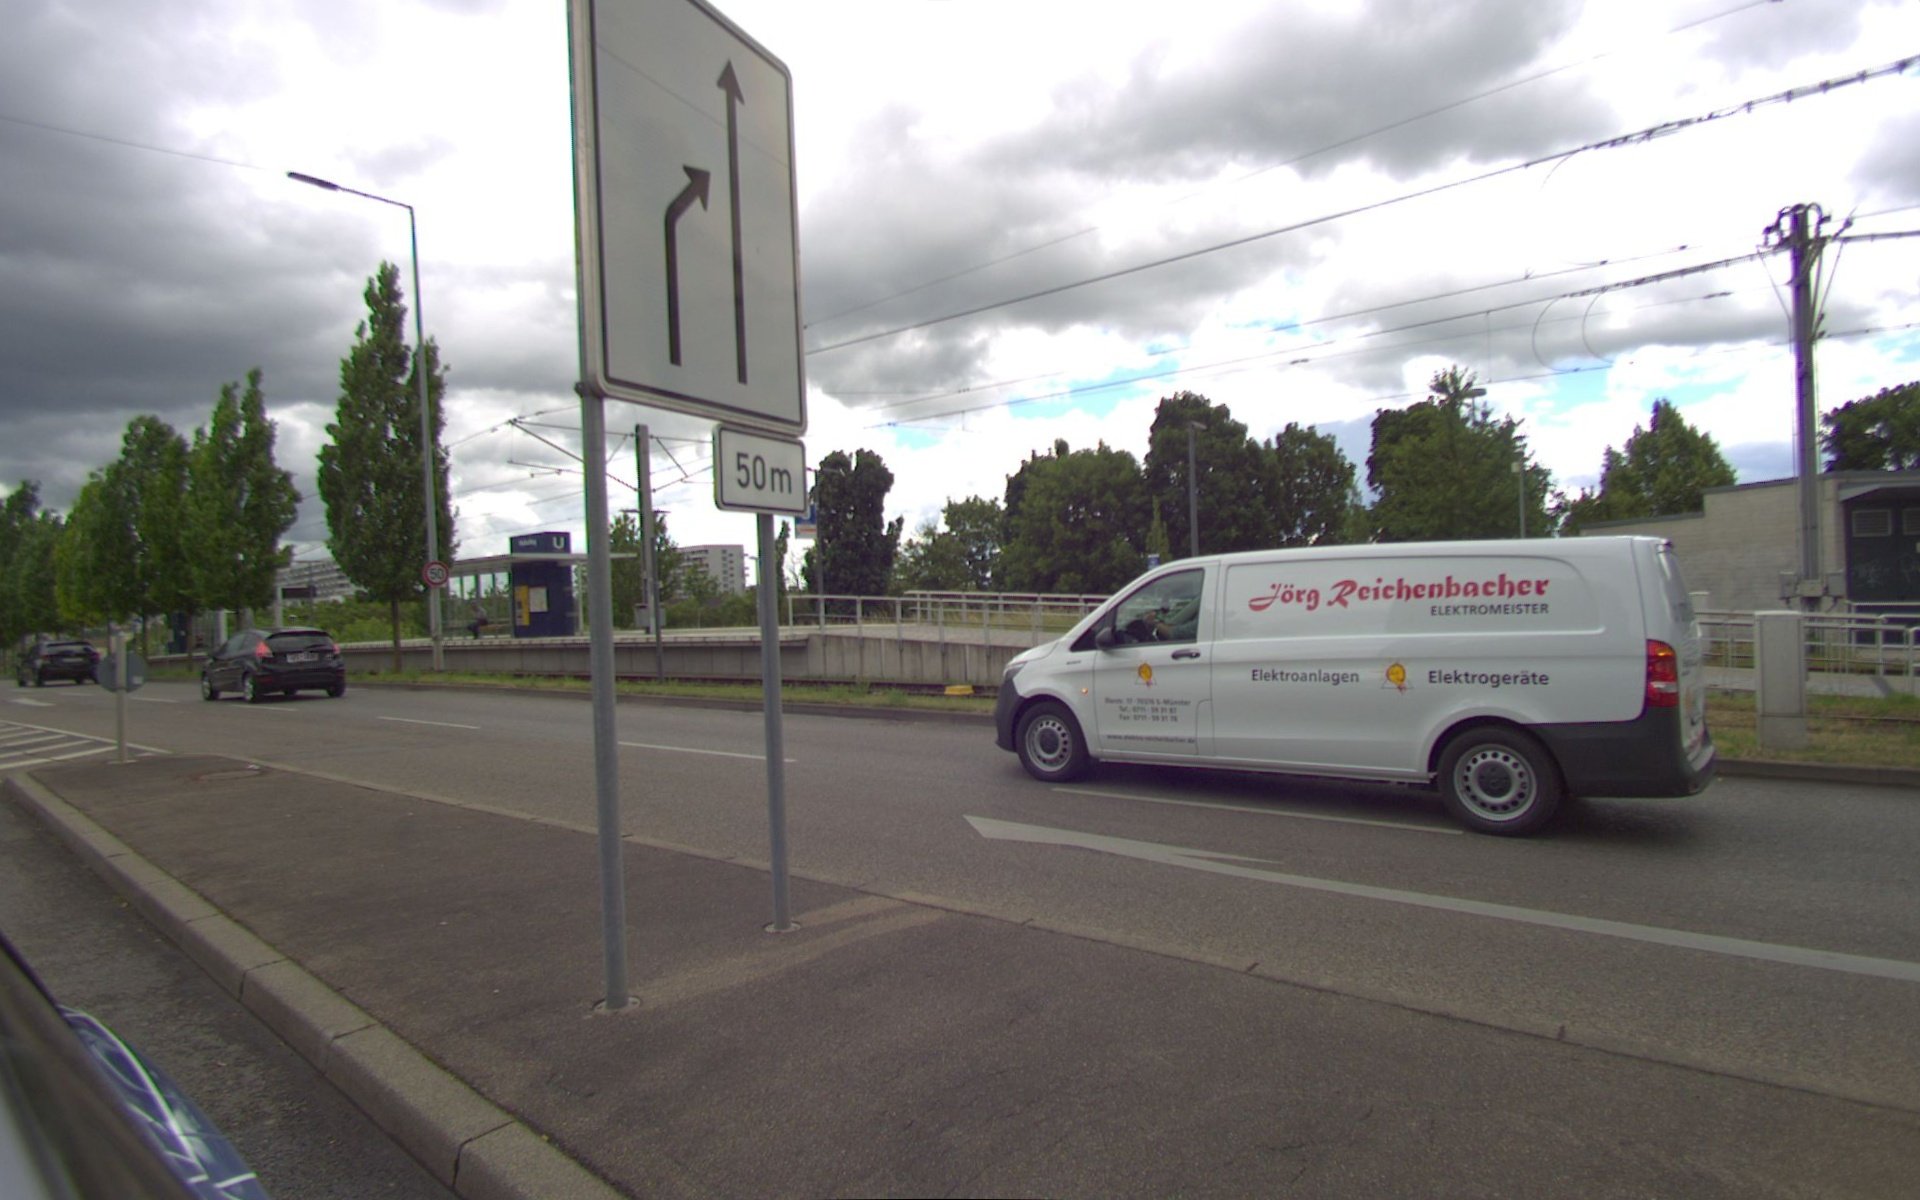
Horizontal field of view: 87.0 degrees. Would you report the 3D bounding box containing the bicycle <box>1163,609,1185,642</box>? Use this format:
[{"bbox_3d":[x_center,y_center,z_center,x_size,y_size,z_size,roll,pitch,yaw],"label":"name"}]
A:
[{"bbox_3d":[7.117,0.826,33.635,0.531,1.039,1.804,-1,0,16],"label":"bicycle"}]

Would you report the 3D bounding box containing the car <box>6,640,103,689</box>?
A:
[{"bbox_3d":[-29.758,2.102,33.233,3.928,1.460,1.680,-3,-1,37],"label":"car"}]

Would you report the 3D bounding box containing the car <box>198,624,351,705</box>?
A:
[{"bbox_3d":[-14.085,1.258,20.729,3.658,1.460,1.678,-2,-1,41],"label":"car"}]

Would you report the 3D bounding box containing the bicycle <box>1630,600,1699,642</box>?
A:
[{"bbox_3d":[18.146,0.521,26.111,0.529,1.039,1.813,-1,0,1],"label":"bicycle"}]

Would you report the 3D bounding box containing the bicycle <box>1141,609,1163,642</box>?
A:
[{"bbox_3d":[6.454,0.844,33.995,0.531,1.039,1.804,-1,0,16],"label":"bicycle"}]

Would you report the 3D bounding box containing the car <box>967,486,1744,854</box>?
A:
[{"bbox_3d":[2.690,0.390,7.954,5.372,1.979,1.895,-1,0,42],"label":"car"}]

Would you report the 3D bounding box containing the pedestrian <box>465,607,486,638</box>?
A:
[{"bbox_3d":[-18.172,0.831,37.953,0.447,1.163,0.593,-1,0,41],"label":"pedestrian"}]

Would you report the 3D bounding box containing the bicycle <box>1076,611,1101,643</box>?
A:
[{"bbox_3d":[4.423,0.906,34.768,0.531,1.039,1.804,-1,0,16],"label":"bicycle"}]

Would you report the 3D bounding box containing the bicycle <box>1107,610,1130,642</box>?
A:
[{"bbox_3d":[5.398,0.881,34.448,0.531,1.039,1.804,-1,0,16],"label":"bicycle"}]
